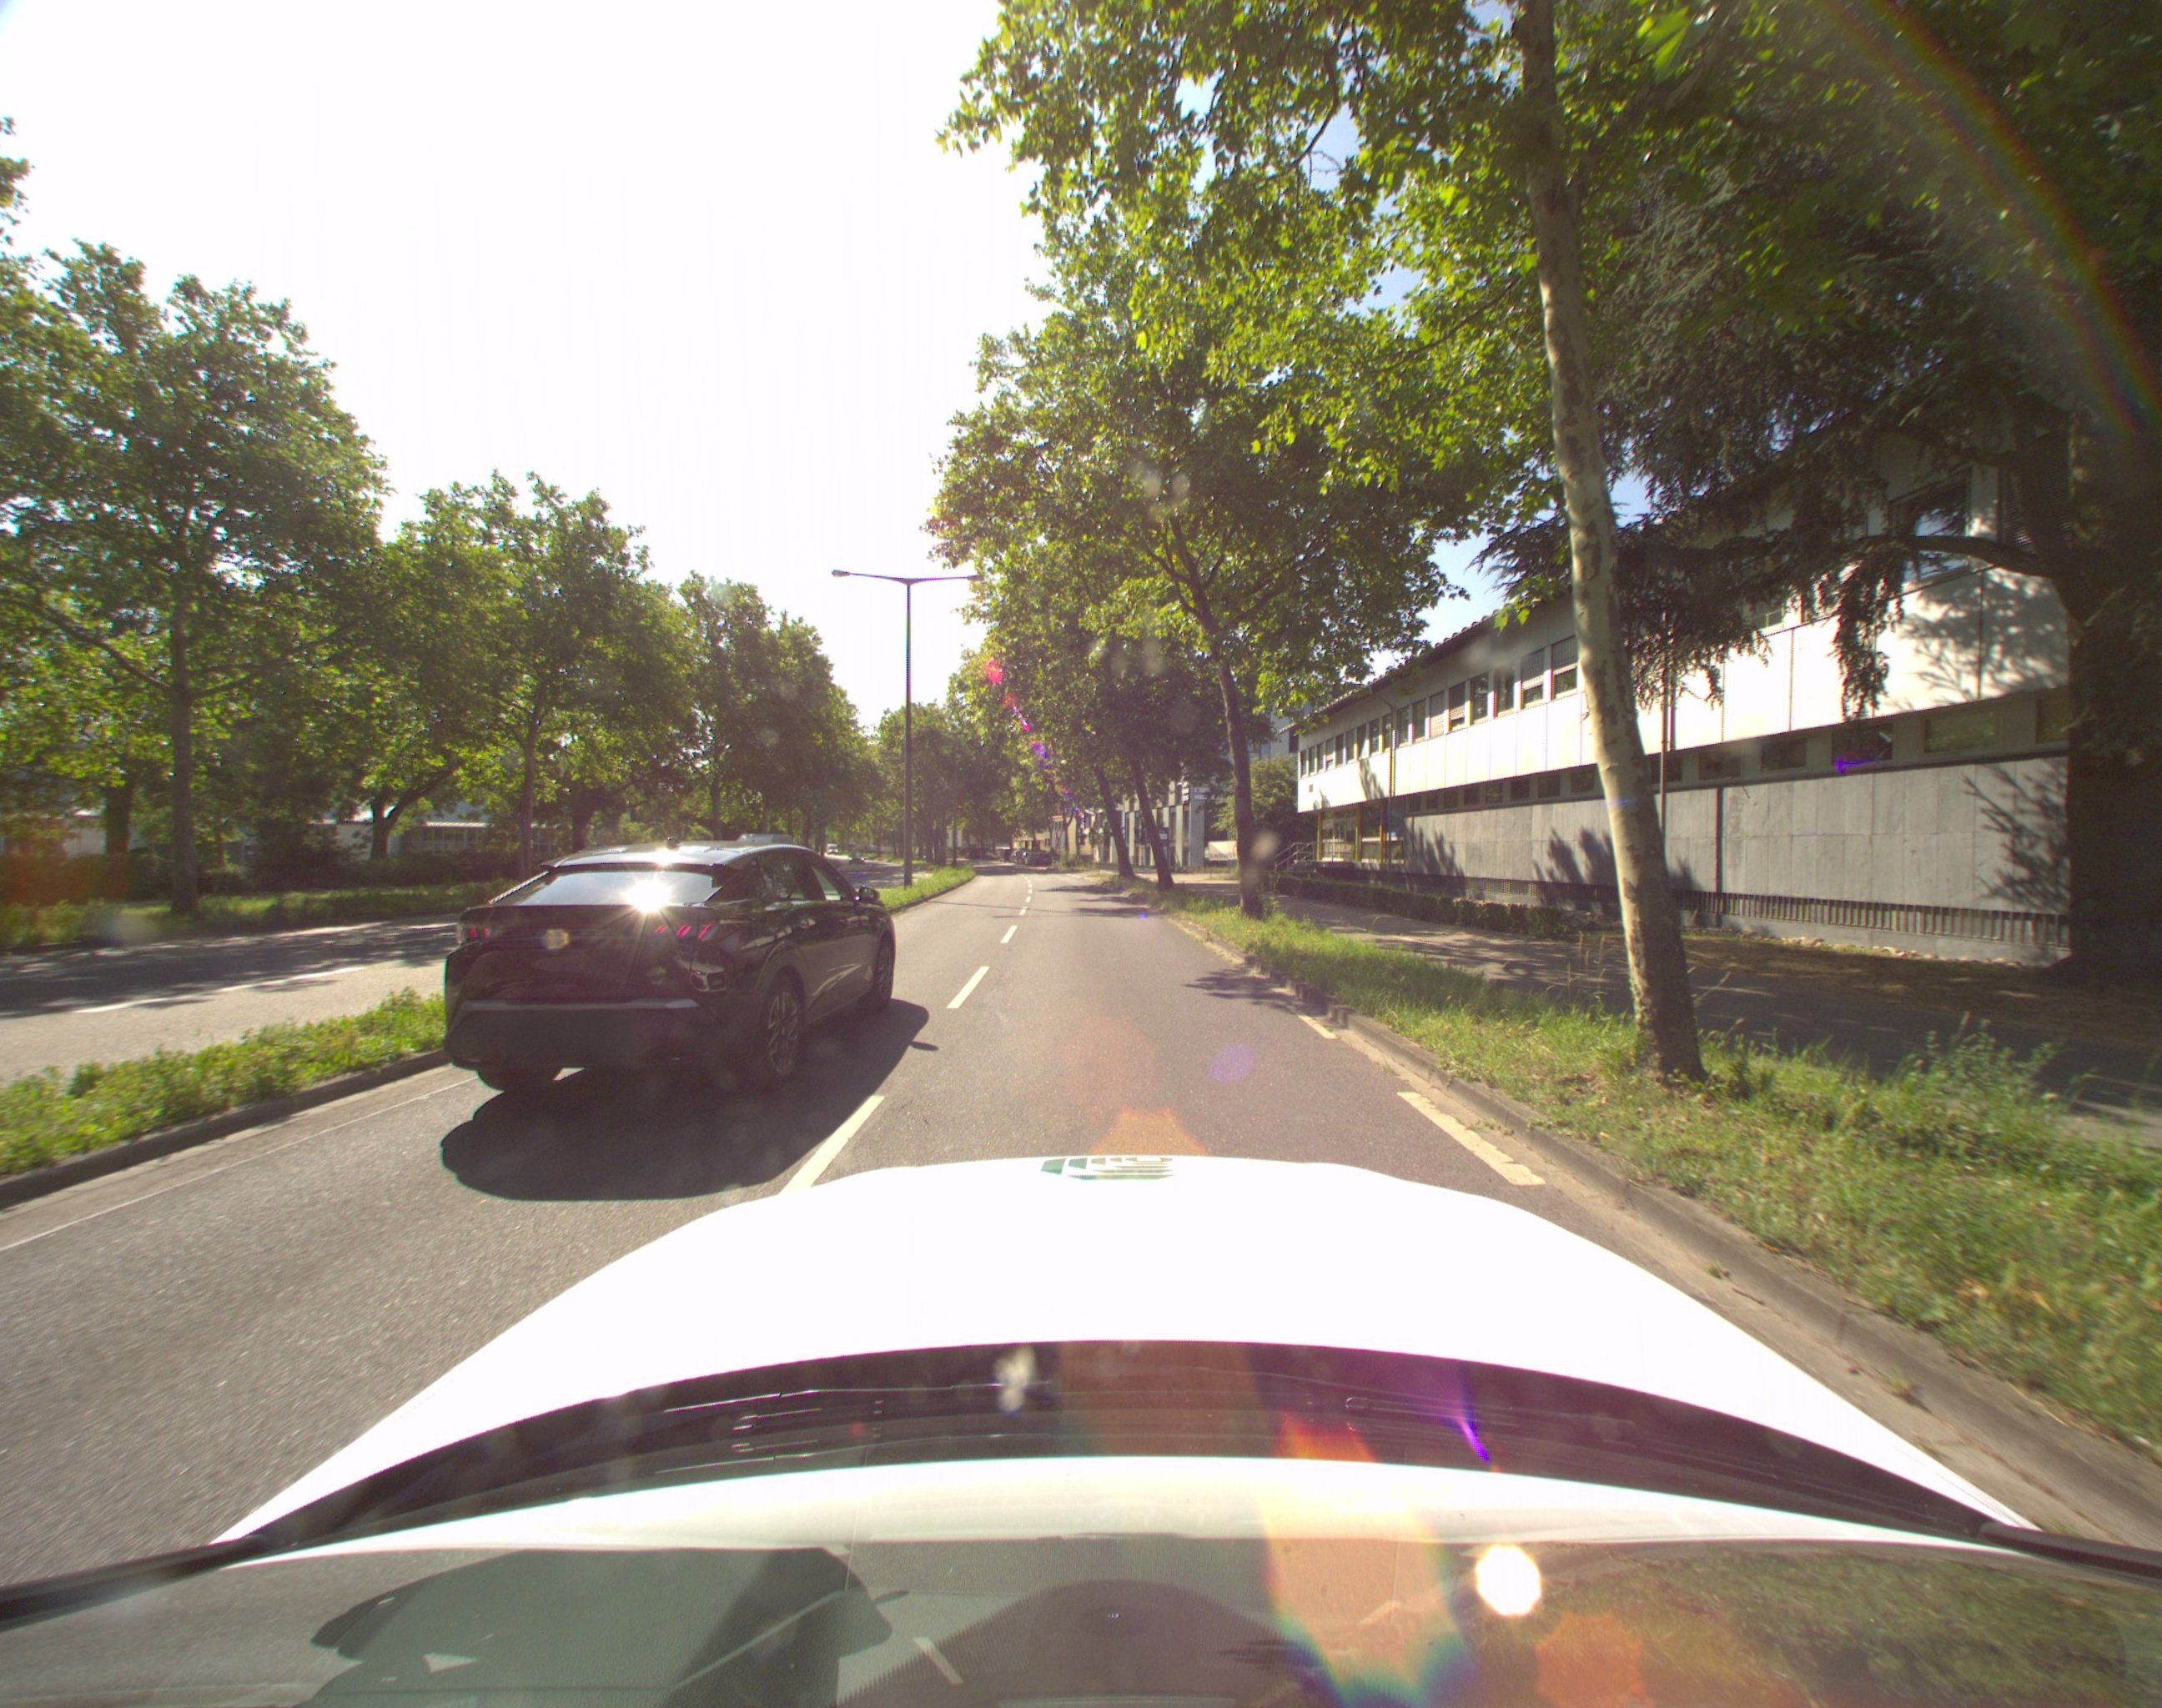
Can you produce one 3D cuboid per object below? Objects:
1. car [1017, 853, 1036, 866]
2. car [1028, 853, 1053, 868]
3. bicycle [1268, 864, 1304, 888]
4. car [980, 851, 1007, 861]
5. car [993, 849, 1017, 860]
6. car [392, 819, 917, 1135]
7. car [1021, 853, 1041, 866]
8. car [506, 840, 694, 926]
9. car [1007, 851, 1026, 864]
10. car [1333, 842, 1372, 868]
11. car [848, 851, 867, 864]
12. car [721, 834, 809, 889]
[{"bbox_3d":[-6.478,0.661,96.728,1.707,1.455,4.638,0,0,-11],"label":"car"},{"bbox_3d":[-4.289,0.691,86.163,1.709,1.487,4.695,-1,1,-15],"label":"car"},{"bbox_3d":[9.859,1.061,39.209,1.661,1.130,0.510,-1,-1,7],"label":"bicycle"},{"bbox_3d":[-14.188,0.309,132.292,4.127,1.633,1.695,0,0,-32],"label":"car"},{"bbox_3d":[-12.045,0.061,128.613,3.562,1.640,1.649,0,0,-19],"label":"car"},{"bbox_3d":[-2.757,0.675,6.631,1.865,1.696,4.436,0,0,1],"label":"car"},{"bbox_3d":[-5.652,0.615,92.116,1.707,1.487,4.086,0,0,-11],"label":"car"},{"bbox_3d":[-11.532,0.603,20.015,1.680,1.839,4.992,0,0,-1],"label":"car"},{"bbox_3d":[-8.671,0.415,108.733,1.710,1.669,4.509,0,0,-16],"label":"car"},{"bbox_3d":[18.064,0.074,54.099,1.659,1.662,3.772,-2,-1,30],"label":"car"},{"bbox_3d":[-27.811,0.460,101.277,1.794,1.556,4.382,0,0,-9],"label":"car"},{"bbox_3d":[-16.129,0.355,42.065,2.056,2.613,7.209,0,0,-3],"label":"car"}]
